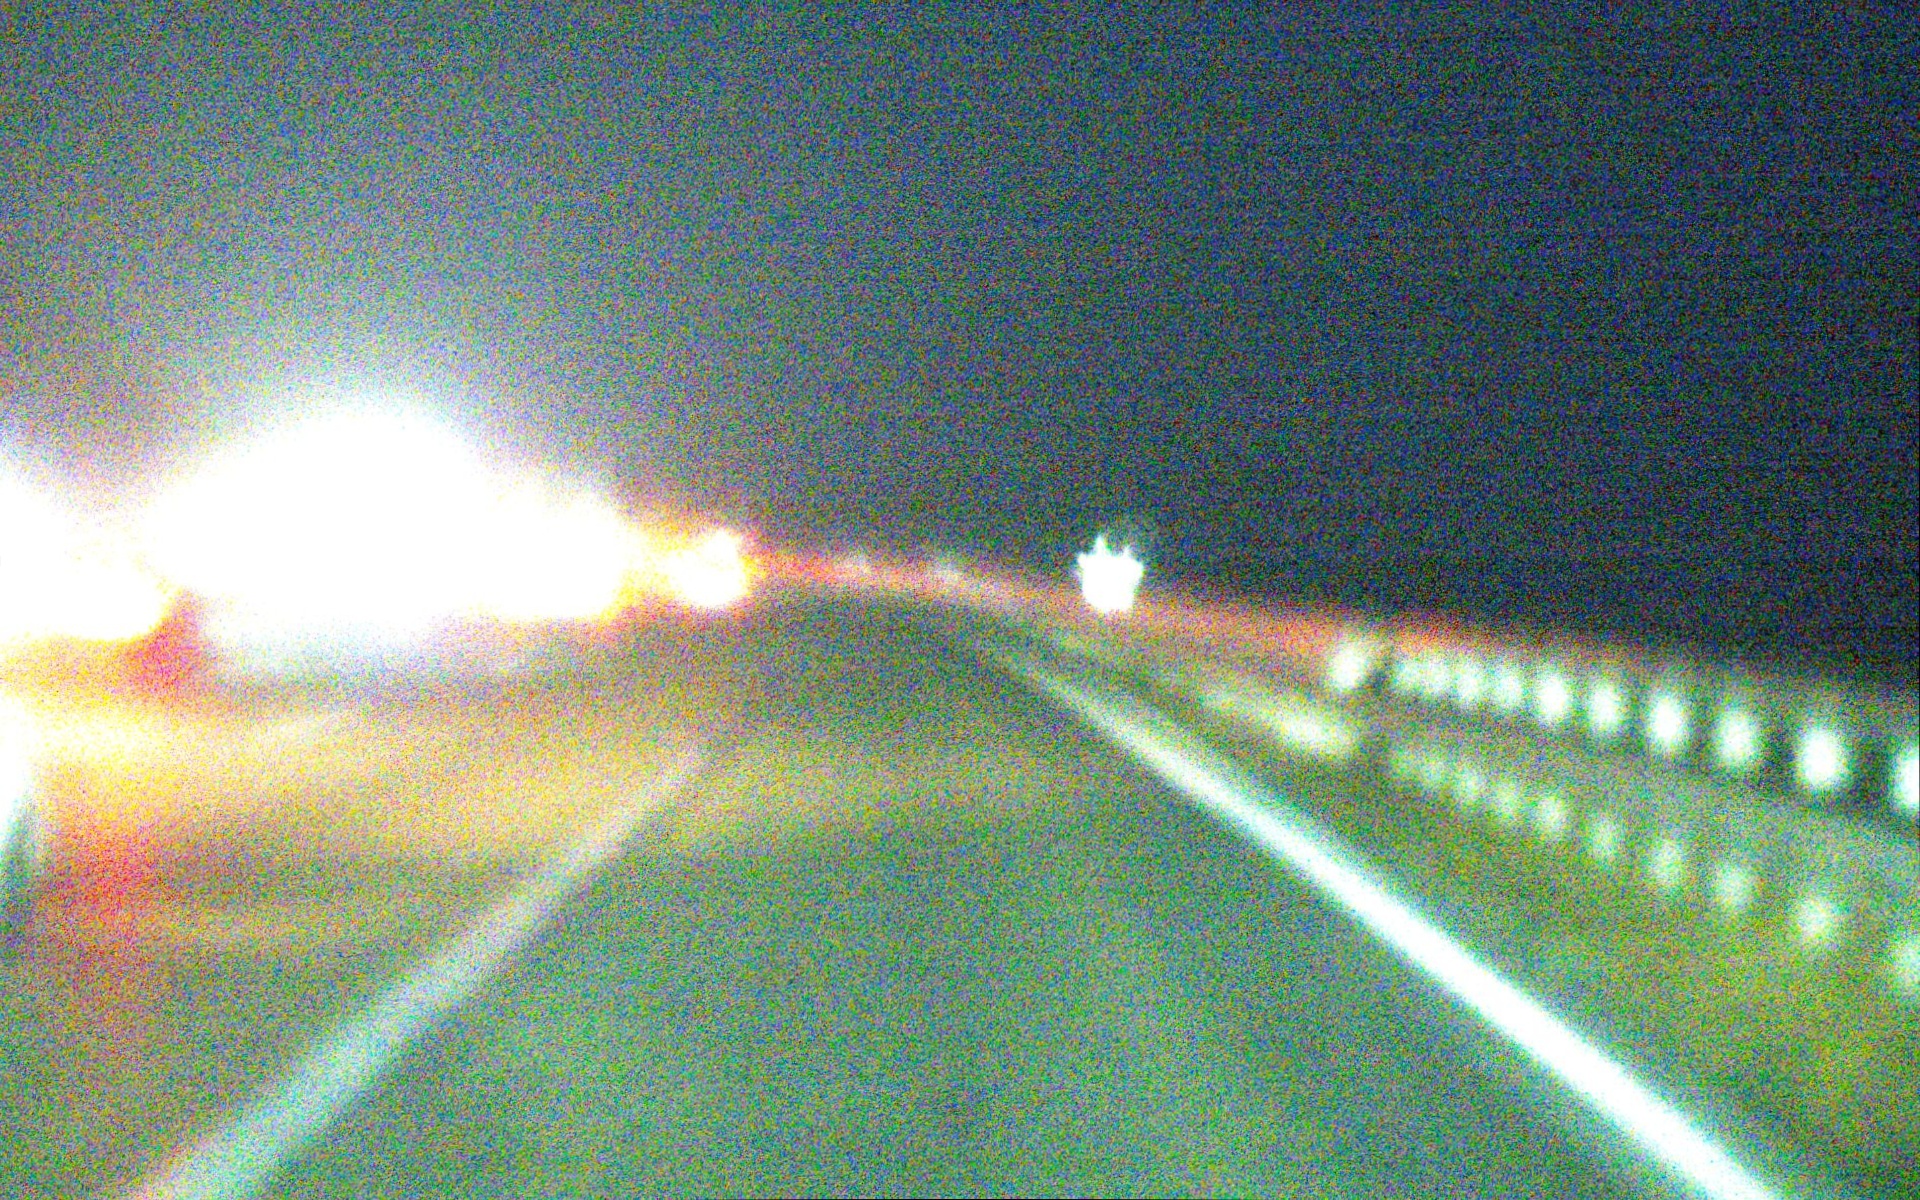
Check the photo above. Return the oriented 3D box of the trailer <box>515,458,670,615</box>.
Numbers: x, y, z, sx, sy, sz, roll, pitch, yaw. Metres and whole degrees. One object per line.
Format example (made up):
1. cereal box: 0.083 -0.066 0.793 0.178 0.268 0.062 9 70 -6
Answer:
1. trailer: -9.633 -1.601 91.643 2.591 3.712 13.653 4 0 -1

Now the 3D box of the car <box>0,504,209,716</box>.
1. car: -9.309 0.053 35.971 1.993 2.007 4.568 4 0 -3

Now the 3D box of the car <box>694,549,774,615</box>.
1. car: -6.713 -0.538 102.561 1.993 1.812 4.000 4 0 1

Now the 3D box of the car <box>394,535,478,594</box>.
1. car: -15.521 -1.057 102.006 1.993 1.612 4.001 4 0 -3

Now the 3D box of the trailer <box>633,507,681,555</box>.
1. trailer: -18.852 -4.221 213.199 2.687 2.690 12.860 4 0 -6

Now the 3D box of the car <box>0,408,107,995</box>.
1. car: -4.273 0.344 10.647 1.993 2.007 5.017 1 0 0
